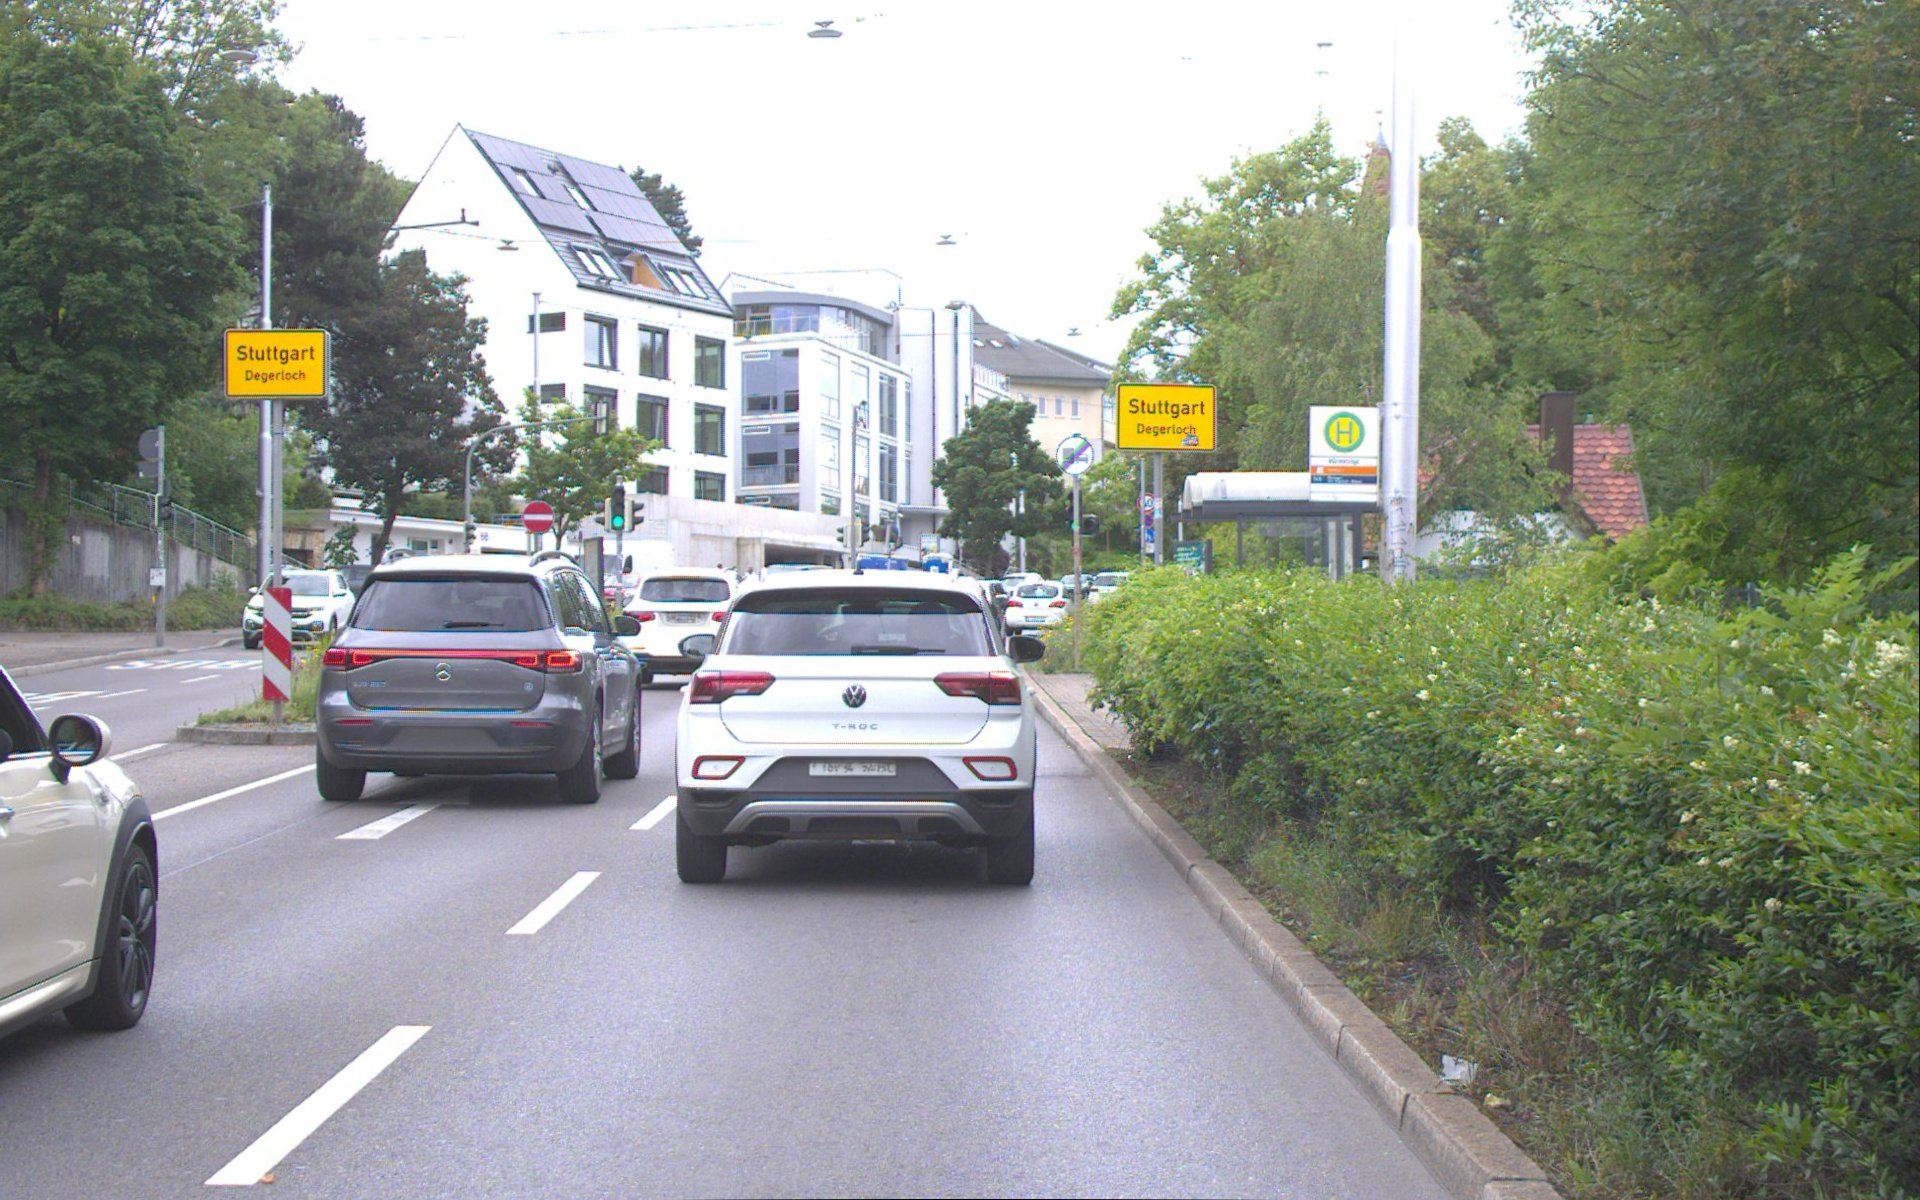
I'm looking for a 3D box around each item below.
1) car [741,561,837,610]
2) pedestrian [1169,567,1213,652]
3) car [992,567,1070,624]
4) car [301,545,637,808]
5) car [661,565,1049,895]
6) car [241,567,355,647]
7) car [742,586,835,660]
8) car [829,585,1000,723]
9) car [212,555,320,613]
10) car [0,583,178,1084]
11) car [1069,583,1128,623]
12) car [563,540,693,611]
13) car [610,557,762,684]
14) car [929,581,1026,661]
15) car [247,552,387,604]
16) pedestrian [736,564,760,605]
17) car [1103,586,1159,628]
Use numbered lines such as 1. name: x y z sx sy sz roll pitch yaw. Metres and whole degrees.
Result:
1. car: -6.892 -0.581 139.477 1.984 1.960 5.213 0 0 21
2. pedestrian: 4.652 0.196 69.266 0.694 1.683 0.619 -1 -1 22
3. car: 1.893 -0.133 92.847 1.858 1.495 4.056 0 0 -2
4. car: -3.313 0.473 23.998 1.812 1.646 4.636 0 0 -2
5. car: -0.554 0.600 17.979 1.811 1.534 3.690 0 0 -2
6. car: -13.280 0.128 69.123 1.728 1.536 4.044 1 0 -4
7. car: -3.550 0.459 71.645 1.858 1.495 4.056 0 0 -2
8. car: -0.563 0.581 39.637 1.858 1.495 4.056 0 0 -2
9. car: -20.040 -0.463 99.227 2.701 1.515 1.564 3 -1 -23
10. car: -3.486 0.653 9.975 1.628 1.388 3.566 0 0 0
11. car: 5.310 0.117 131.256 1.858 1.495 4.054 0 0 8
12. car: -12.193 -0.905 126.847 2.233 2.559 7.416 0 0 16
13. car: -3.724 0.255 47.350 1.858 1.646 4.636 0 0 -2
14. car: 0.384 0.416 70.994 1.873 1.496 4.555 3 0 1
15. car: -19.340 -0.671 103.397 4.118 1.534 1.599 0 0 -11
16. pedestrian: -8.660 -0.648 140.389 0.674 1.634 0.672 2 1 -33
17. car: 6.276 0.242 125.757 1.858 1.495 4.055 0 0 5
